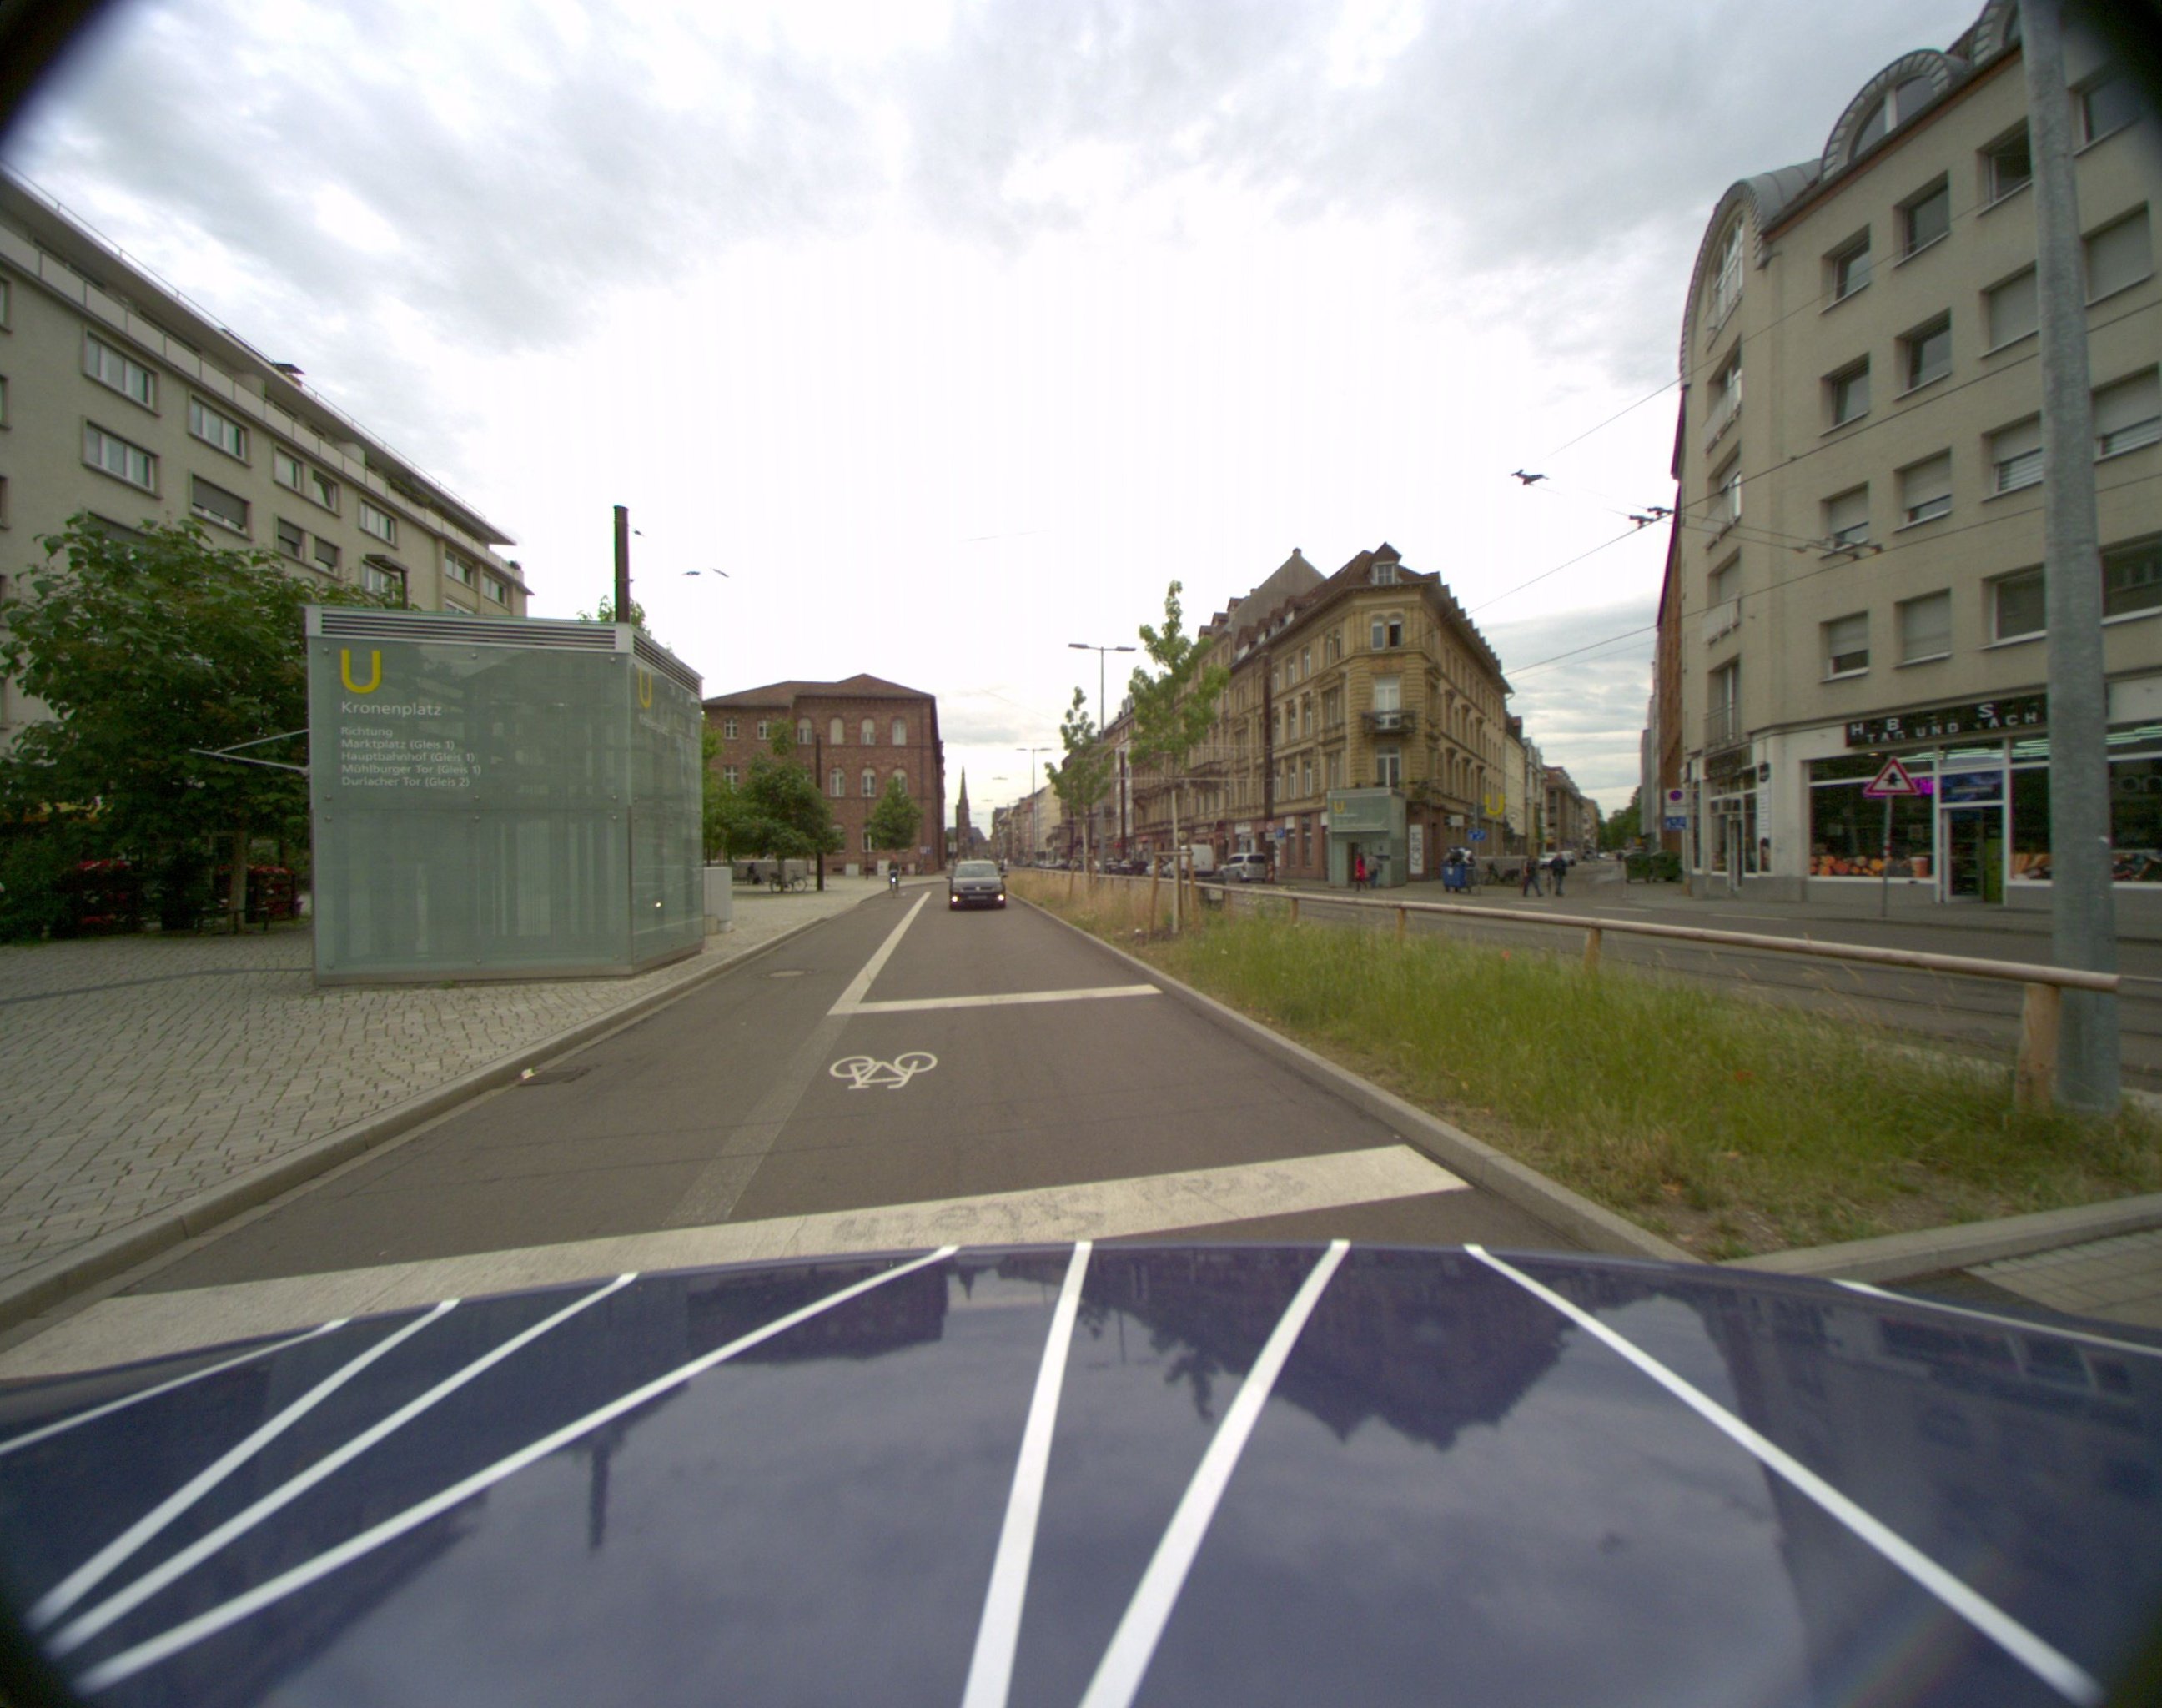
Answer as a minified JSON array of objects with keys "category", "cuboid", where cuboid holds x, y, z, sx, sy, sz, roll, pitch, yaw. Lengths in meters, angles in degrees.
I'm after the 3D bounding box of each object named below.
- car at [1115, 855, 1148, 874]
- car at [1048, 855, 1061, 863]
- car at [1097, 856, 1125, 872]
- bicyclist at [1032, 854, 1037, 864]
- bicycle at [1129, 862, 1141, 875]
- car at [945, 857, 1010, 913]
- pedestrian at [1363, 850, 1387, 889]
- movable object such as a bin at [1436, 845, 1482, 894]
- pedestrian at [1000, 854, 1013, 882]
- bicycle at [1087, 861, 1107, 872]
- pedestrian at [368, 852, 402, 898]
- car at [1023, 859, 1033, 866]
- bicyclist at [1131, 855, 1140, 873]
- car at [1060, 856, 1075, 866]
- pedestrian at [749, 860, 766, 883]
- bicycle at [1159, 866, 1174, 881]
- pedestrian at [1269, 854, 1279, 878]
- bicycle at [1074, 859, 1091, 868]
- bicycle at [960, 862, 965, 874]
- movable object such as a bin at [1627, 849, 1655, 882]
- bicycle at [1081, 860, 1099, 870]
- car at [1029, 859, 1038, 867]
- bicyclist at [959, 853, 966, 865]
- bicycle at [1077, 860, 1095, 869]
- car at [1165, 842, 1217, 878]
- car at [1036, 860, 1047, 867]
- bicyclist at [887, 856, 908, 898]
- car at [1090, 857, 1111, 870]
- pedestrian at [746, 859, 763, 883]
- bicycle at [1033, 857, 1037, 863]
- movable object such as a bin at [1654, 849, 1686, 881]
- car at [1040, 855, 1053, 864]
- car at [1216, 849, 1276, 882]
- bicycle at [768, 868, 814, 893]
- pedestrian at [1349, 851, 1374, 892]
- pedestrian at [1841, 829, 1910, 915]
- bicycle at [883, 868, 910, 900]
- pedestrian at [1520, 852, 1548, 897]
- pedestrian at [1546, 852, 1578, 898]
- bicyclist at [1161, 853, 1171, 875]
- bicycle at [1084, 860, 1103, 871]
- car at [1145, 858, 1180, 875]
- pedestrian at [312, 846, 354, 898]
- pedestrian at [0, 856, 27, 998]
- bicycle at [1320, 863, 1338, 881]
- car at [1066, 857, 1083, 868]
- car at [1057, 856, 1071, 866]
[{"category":"car","cuboid":[4.848,1.001,73.257,1.926,1.679,5.047,2,-1,-11]},{"category":"car","cuboid":[-4.837,0.974,136.952,1.749,1.456,4.043,0,-1,-10]},{"category":"car","cuboid":[3.226,1.062,82.123,1.820,1.679,5.026,0,-1,-12]},{"category":"bicyclist","cuboid":[-8.776,0.856,143.449,0.647,1.872,1.027,-2,1,-8]},{"category":"bicycle","cuboid":[4.287,1.143,60.536,0.481,1.015,1.910,0,0,-11]},{"category":"car","cuboid":[-3.255,0.890,23.417,1.749,1.538,3.647,-1,0,-11]},{"category":"pedestrian","cuboid":[12.960,0.686,33.506,0.824,1.677,0.723,0,2,8]},{"category":"movable object such as a bin","cuboid":[15.686,0.605,31.571,1.034,1.970,1.616,0,2,-3]},{"category":"pedestrian","cuboid":[-5.140,0.981,52.408,0.872,1.890,0.772,0,0,-11]},{"category":"bicycle","cuboid":[1.967,1.483,93.154,2.290,1.321,0.666,1,0,-9]},{"category":"pedestrian","cuboid":[-27.008,0.803,29.484,0.774,1.741,0.719,1,0,29]},{"category":"car","cuboid":[-12.677,1.984,181.708,1.930,1.722,3.823,-2,0,-10]},{"category":"bicyclist","cuboid":[4.339,0.782,60.221,0.480,1.398,0.811,0,0,-11]},{"category":"car","cuboid":[-2.081,1.118,118.092,1.749,1.479,3.917,0,-1,-9]},{"category":"pedestrian","cuboid":[-20.293,1.091,47.657,0.782,1.447,0.766,2,0,-39]},{"category":"bicycle","cuboid":[6.027,1.360,53.553,0.478,1.015,1.910,0,0,-11]},{"category":"pedestrian","cuboid":[12.308,0.760,48.433,0.554,1.547,0.658,-2,1,8]},{"category":"bicycle","cuboid":[0.226,1.280,103.322,2.290,1.196,0.704,1,0,-9]},{"category":"bicycle","cuboid":[-11.250,1.301,72.120,0.472,1.151,2.271,-1,0,-10]},{"category":"movable object such as a bin","cuboid":[26.060,0.518,35.382,0.944,1.492,1.241,-1,1,32]},{"category":"bicycle","cuboid":[1.160,1.435,99.384,2.290,1.321,0.666,1,0,-9]},{"category":"car","cuboid":[-10.668,1.951,170.741,1.706,1.662,4.178,-2,0,-8]},{"category":"bicyclist","cuboid":[-11.259,0.476,72.189,0.587,1.164,0.662,-1,0,-10]},{"category":"bicycle","cuboid":[0.660,1.453,102.080,2.290,1.196,0.704,1,0,-9]},{"category":"car","cuboid":[8.081,0.417,56.333,2.060,2.472,5.660,2,0,-11]},{"category":"car","cuboid":[-8.091,1.946,156.289,1.653,1.372,3.433,0,-1,-13]},{"category":"bicyclist","cuboid":[-7.519,0.933,31.132,0.570,1.674,0.794,-1,1,4]},{"category":"car","cuboid":[2.318,1.100,90.147,1.750,1.479,3.917,0,-1,-10]},{"category":"pedestrian","cuboid":[-20.792,1.082,48.328,0.782,1.447,0.766,2,0,-39]},{"category":"bicycle","cuboid":[-8.719,1.181,143.366,0.587,1.167,2.043,1,0,-8]},{"category":"movable object such as a bin","cuboid":[26.968,0.495,34.803,1.008,1.397,1.241,-1,1,32]},{"category":"car","cuboid":[-6.388,1.035,141.391,1.830,1.512,4.542,0,-1,-9]},{"category":"car","cuboid":[9.893,0.666,45.832,1.909,1.853,4.516,1,0,-11]},{"category":"bicycle","cuboid":[-13.729,1.248,35.983,1.918,1.116,0.645,-2,1,1]},{"category":"pedestrian","cuboid":[11.691,0.722,31.678,0.723,1.677,0.661,-1,2,-20]},{"category":"pedestrian","cuboid":[15.931,0.349,15.245,0.663,1.677,0.721,-1,2,-22]},{"category":"bicycle","cuboid":[-7.525,1.207,31.115,0.524,1.253,1.942,-1,0,3]},{"category":"pedestrian","cuboid":[17.082,0.769,28.663,0.661,1.677,0.723,0,2,6]},{"category":"pedestrian","cuboid":[18.115,0.774,28.634,0.661,1.677,0.924,0,2,6]},{"category":"bicyclist","cuboid":[5.965,0.711,53.407,0.493,1.531,0.811,0,0,-11]},{"category":"bicycle","cuboid":[1.576,1.407,95.754,2.290,1.321,0.666,1,0,-9]},{"category":"car","cuboid":[6.827,1.030,64.136,1.777,1.414,4.161,2,-1,-11]},{"category":"pedestrian","cuboid":[-27.562,0.658,27.995,0.774,1.874,0.854,-1,1,29]},{"category":"pedestrian","cuboid":[-13.045,0.863,8.755,0.627,1.674,0.869,1,1,-13]},{"category":"bicycle","cuboid":[13.897,1.016,42.614,0.341,0.953,1.687,-2,0,-2]},{"category":"car","cuboid":[-0.954,1.209,107.750,1.749,1.524,4.222,0,-1,-10]},{"category":"car","cuboid":[-2.761,1.113,122.753,1.749,1.662,4.043,0,-1,-10]}]
